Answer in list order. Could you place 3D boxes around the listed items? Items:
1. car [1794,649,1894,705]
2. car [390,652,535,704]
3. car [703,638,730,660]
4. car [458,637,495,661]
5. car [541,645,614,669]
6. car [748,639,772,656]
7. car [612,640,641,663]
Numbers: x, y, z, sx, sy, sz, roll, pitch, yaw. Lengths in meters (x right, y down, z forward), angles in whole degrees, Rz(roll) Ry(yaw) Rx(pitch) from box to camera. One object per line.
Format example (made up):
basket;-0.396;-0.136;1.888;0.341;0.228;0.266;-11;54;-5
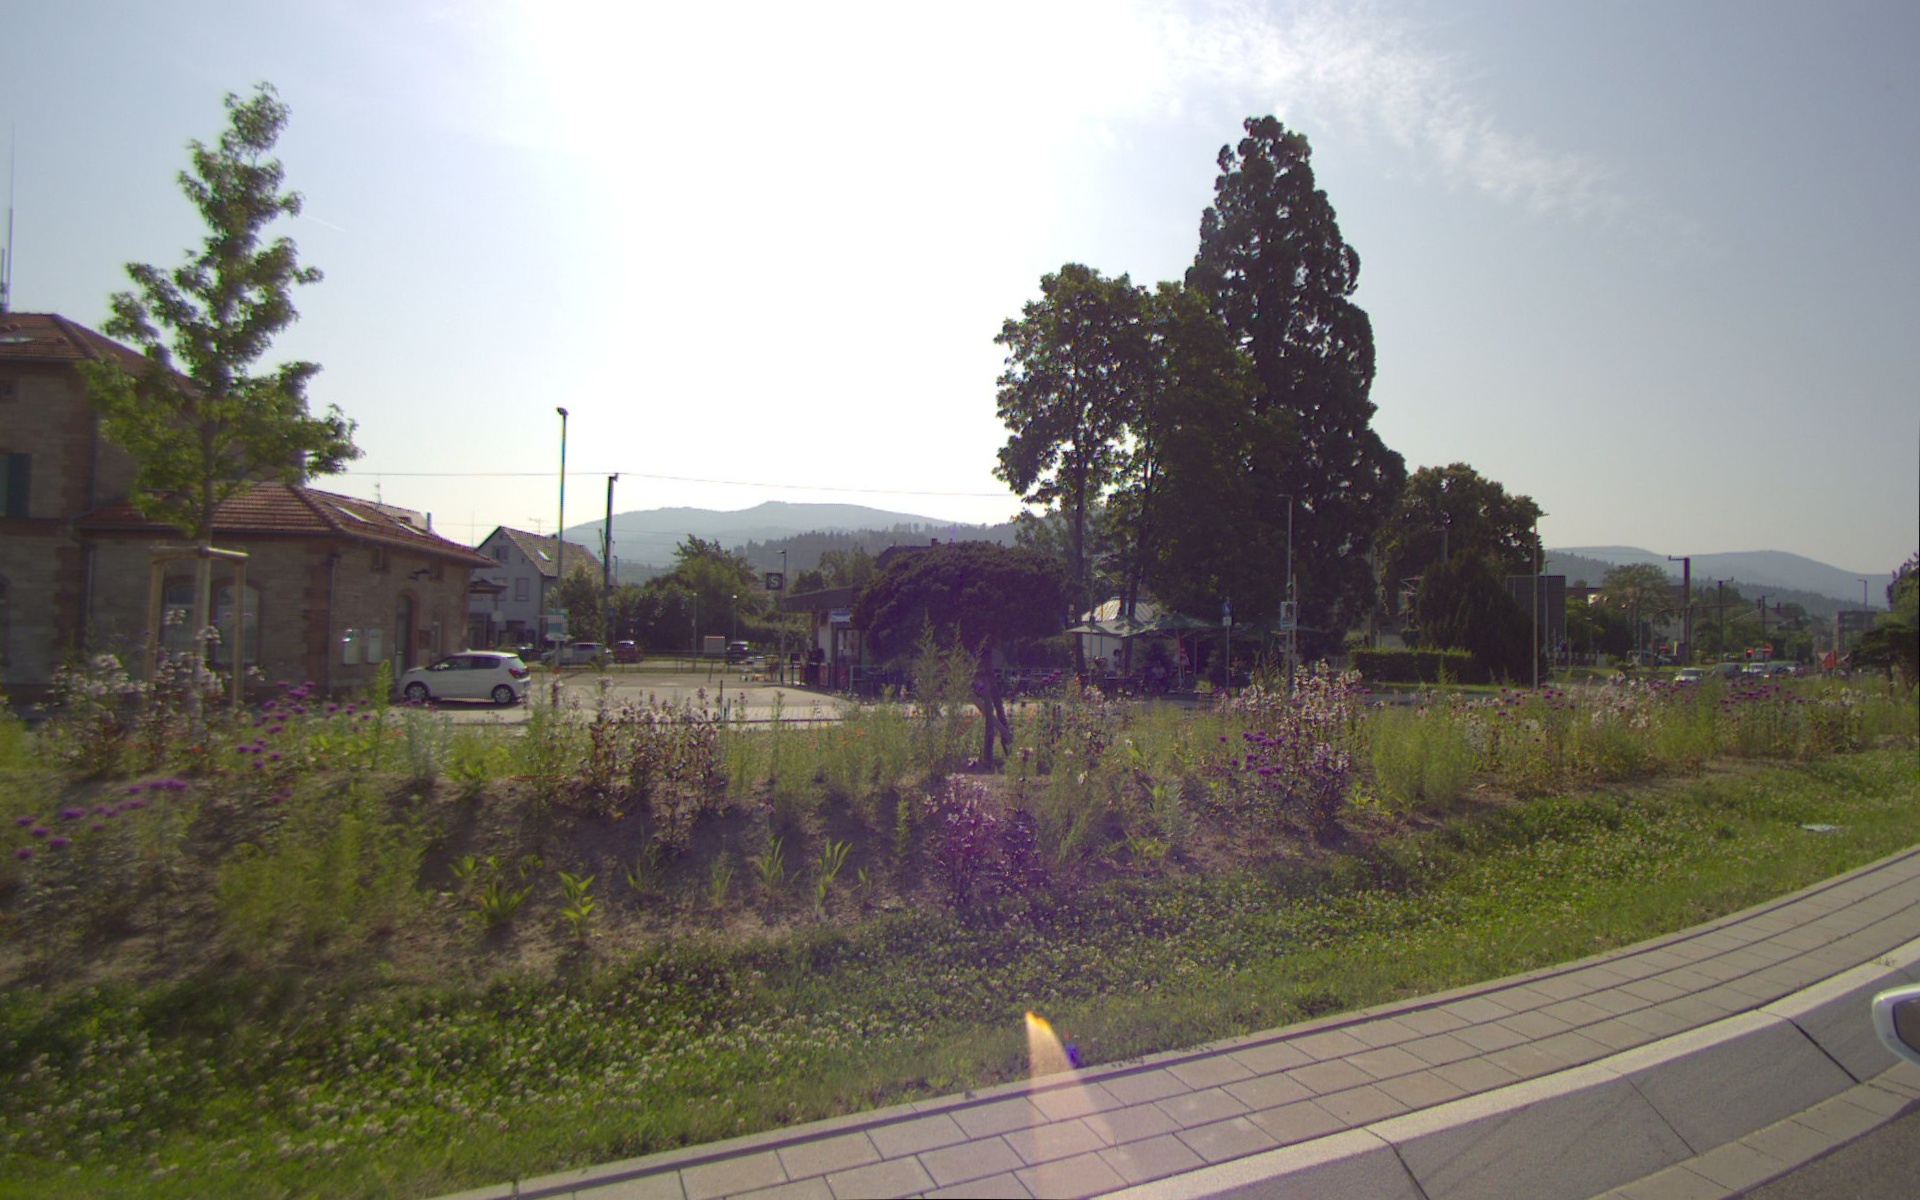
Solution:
car;33.762;2.894;38.341;3.956;2.040;1.800;2;-3;-32
car;-14.368;2.245;29.178;3.473;1.468;1.391;1;-3;-10
car;-18.219;3.702;75.250;1.582;1.554;3.579;1;-4;-8
car;-34.228;3.488;71.155;1.585;1.554;3.574;2;-4;-13
car;-23.143;3.459;60.882;3.935;1.358;1.607;2;-4;-17
car;-17.228;4.109;86.509;1.365;1.382;3.538;0;-3;-1
car;-23.382;3.625;70.463;1.585;1.554;3.574;2;-4;-13
